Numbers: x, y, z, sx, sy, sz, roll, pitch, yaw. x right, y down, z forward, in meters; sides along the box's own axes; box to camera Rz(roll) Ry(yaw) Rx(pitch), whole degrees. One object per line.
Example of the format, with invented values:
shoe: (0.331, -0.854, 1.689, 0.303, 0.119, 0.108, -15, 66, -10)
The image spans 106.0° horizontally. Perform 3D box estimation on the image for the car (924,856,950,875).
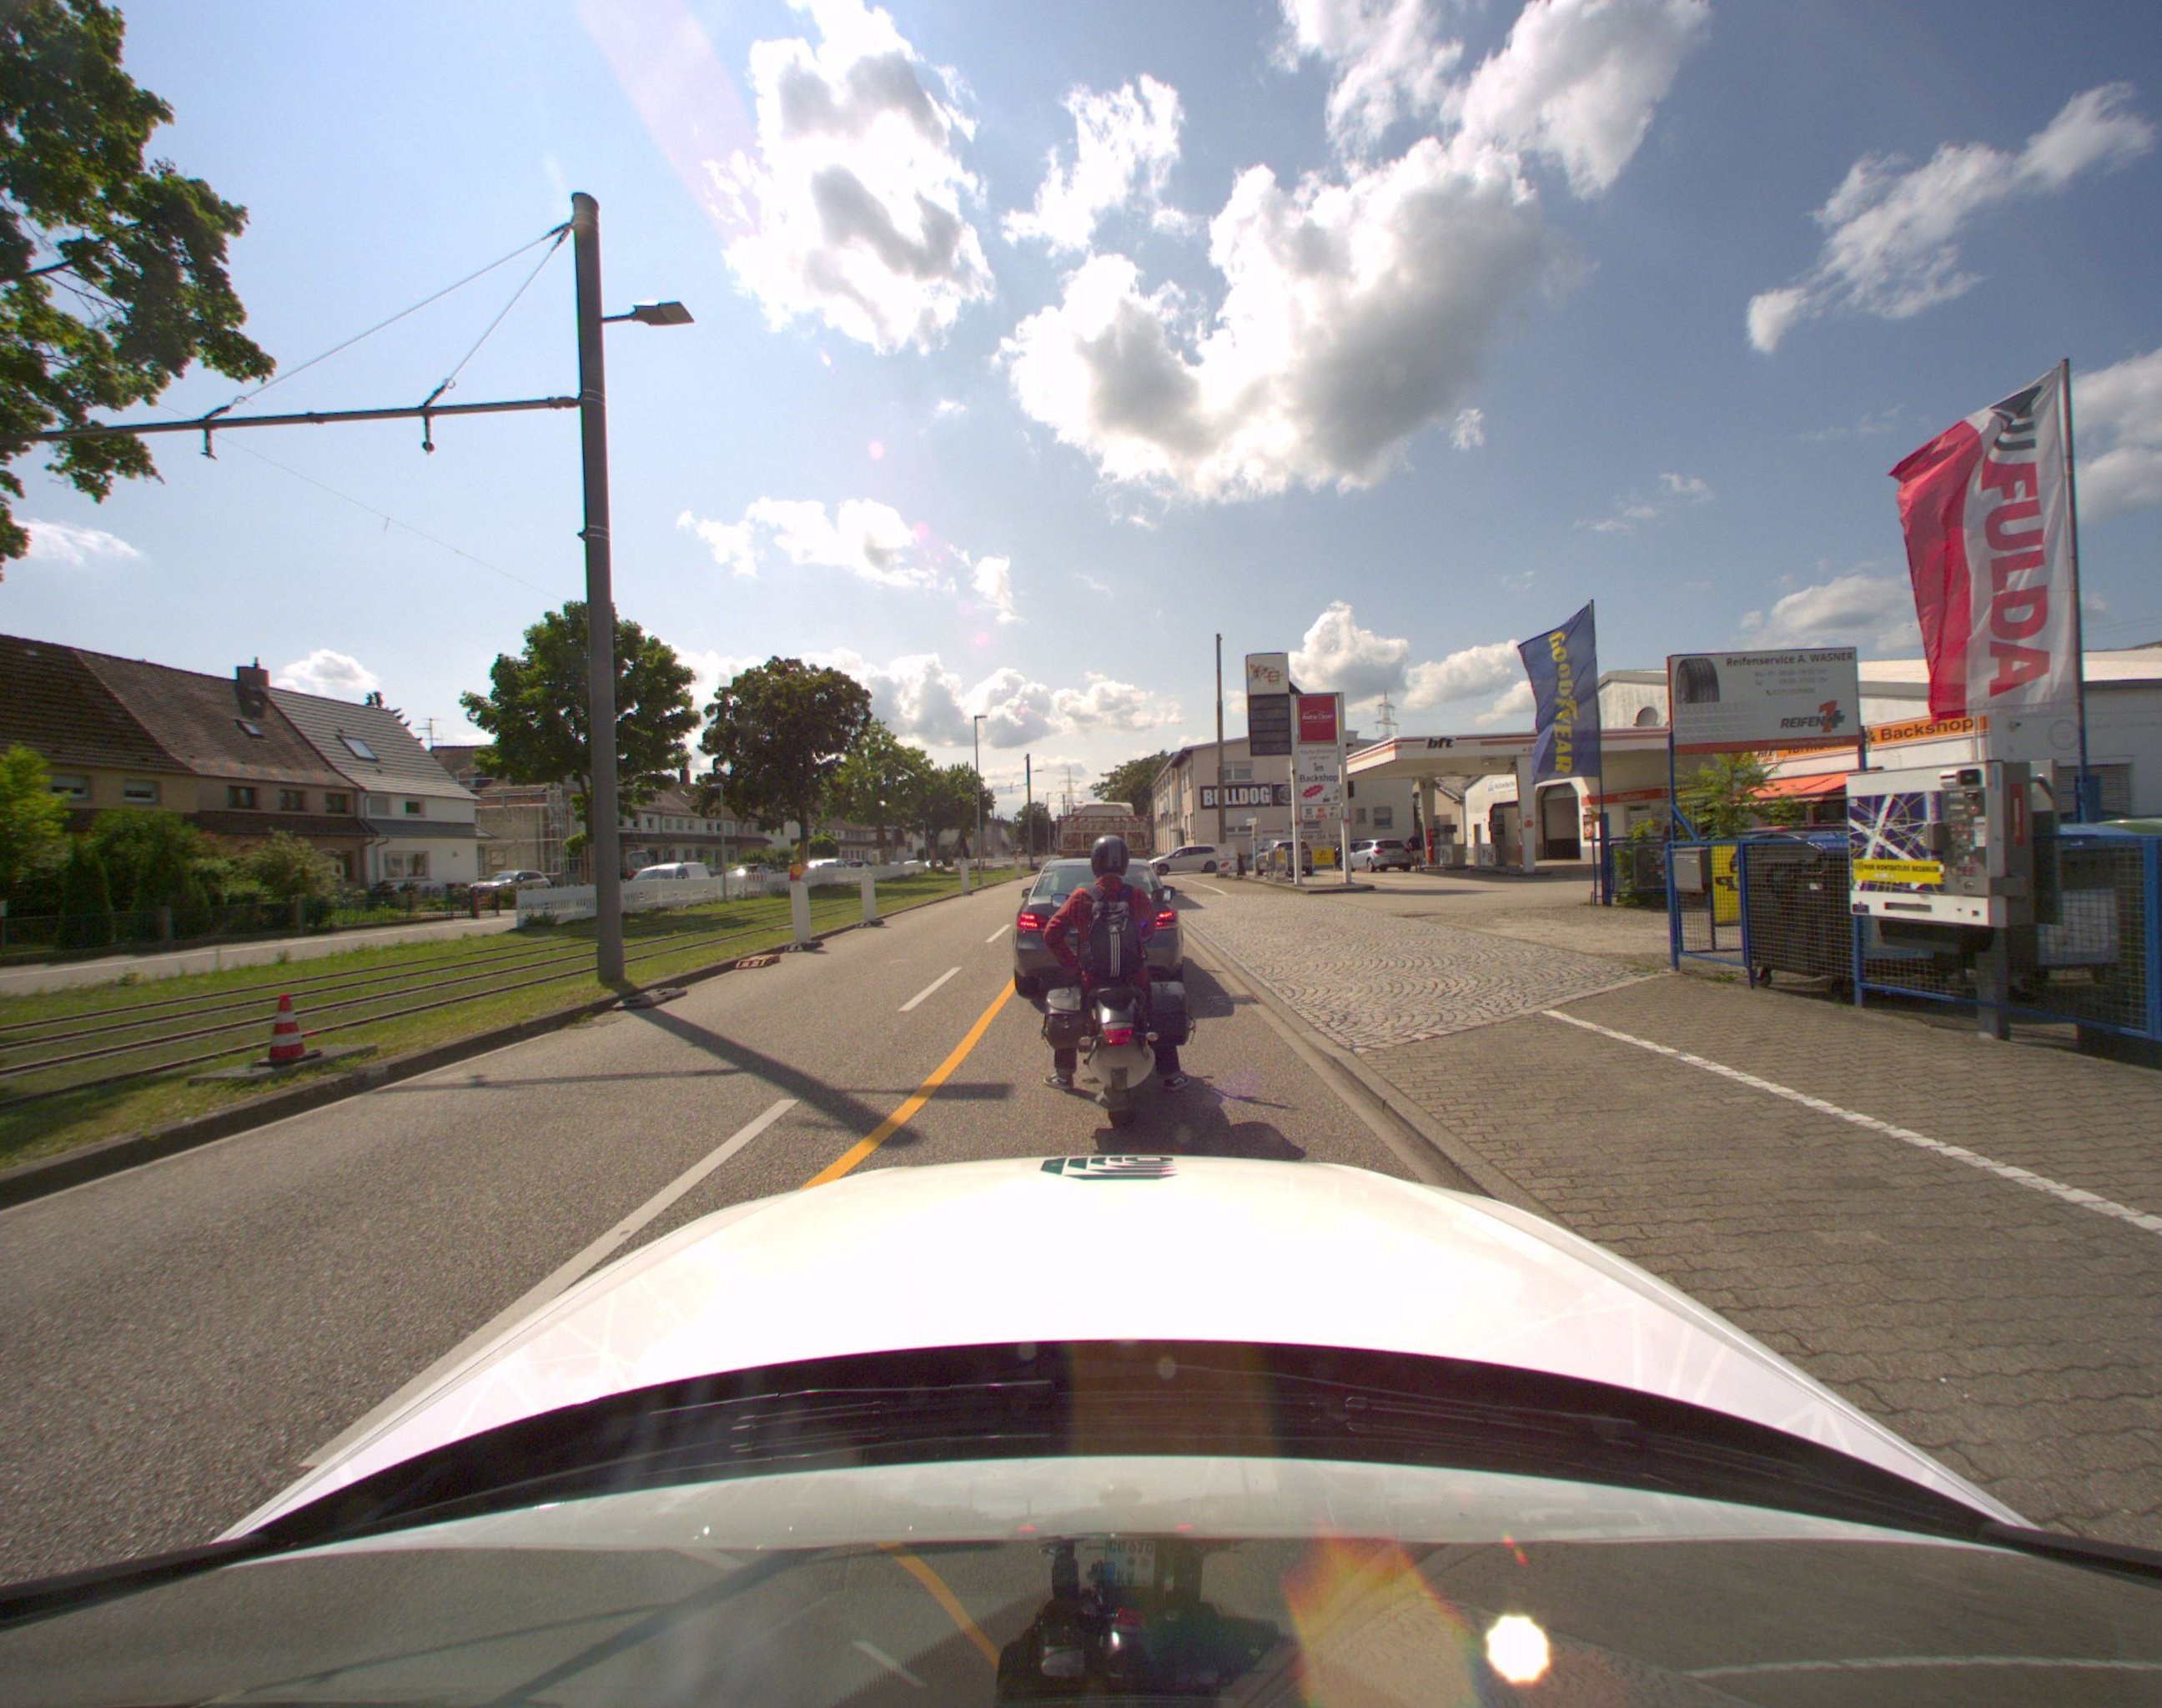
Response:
car: (-14.187, 1.148, 80.389, 1.692, 1.739, 3.862, -2, 0, 2)

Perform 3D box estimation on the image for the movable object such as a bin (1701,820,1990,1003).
movable object such as a bin: (6.827, 0.468, 7.408, 1.222, 1.454, 1.455, -2, 0, 0)

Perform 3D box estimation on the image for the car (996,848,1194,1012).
car: (0.163, 0.718, 9.788, 1.826, 1.479, 4.009, -3, 0, 1)

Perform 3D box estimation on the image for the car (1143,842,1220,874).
car: (5.766, 0.225, 47.053, 4.101, 1.624, 1.682, -3, 0, -7)

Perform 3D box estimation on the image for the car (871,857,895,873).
car: (-24.062, 1.333, 99.090, 1.692, 1.739, 4.064, -2, 0, 2)

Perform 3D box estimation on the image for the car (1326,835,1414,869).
car: (15.211, -0.110, 43.033, 4.083, 1.624, 1.689, -2, 0, 7)

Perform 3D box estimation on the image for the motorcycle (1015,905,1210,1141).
motorcycle: (0.198, 0.930, 5.316, 0.972, 1.013, 2.433, -1, 0, 2)

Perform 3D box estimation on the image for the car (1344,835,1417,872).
car: (13.539, -0.025, 37.073, 1.826, 1.479, 4.009, -3, 0, 1)

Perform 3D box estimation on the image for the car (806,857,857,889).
car: (-15.060, 1.108, 49.393, 1.692, 1.739, 3.862, -2, 0, 2)

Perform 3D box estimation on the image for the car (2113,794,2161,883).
car: (26.354, -0.435, 18.190, 3.972, 2.013, 2.001, -2, 0, 1)

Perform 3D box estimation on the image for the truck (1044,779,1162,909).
truck: (0.643, -0.284, 25.607, 2.960, 3.304, 8.407, -2, 0, 1)

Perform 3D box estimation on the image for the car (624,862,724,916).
car: (-15.417, 1.275, 31.059, 1.692, 1.817, 3.862, -2, 0, 2)

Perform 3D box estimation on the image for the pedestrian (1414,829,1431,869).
pedestrian: (14.842, -0.212, 35.392, 0.628, 1.683, 0.626, -2, 0, 23)

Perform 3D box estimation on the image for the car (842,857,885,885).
car: (-14.868, 1.137, 55.760, 1.692, 1.739, 3.862, -2, 0, 2)

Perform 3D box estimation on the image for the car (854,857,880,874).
car: (-24.467, 1.298, 93.140, 1.692, 1.739, 4.064, -2, 0, 2)

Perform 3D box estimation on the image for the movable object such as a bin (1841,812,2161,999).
movable object such as a bin: (8.106, 0.414, 7.284, 1.222, 1.454, 1.455, -2, 0, 0)

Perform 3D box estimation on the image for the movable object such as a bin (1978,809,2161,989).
movable object such as a bin: (9.452, 0.333, 7.194, 1.425, 1.454, 1.455, -2, 0, 0)

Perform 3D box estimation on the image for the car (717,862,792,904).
car: (-15.325, 1.322, 38.489, 1.692, 1.739, 4.056, -2, 0, 2)

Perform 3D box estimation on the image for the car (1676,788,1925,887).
car: (16.603, -0.373, 18.966, 3.972, 2.013, 2.001, -2, 0, 1)

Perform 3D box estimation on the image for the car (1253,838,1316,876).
car: (9.069, 0.120, 36.580, 1.826, 1.536, 4.009, -3, 0, 1)

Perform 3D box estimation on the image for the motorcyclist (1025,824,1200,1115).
motorcyclist: (0.197, 0.652, 5.199, 0.966, 1.633, 1.215, -1, 0, 1)

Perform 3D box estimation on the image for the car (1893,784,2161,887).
car: (21.251, -0.403, 18.274, 3.972, 2.013, 2.001, -2, 0, 1)

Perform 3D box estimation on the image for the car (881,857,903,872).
car: (-24.381, 1.340, 105.367, 1.692, 1.739, 4.064, -2, 0, 2)

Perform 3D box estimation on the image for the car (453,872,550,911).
car: (-27.479, 1.728, 38.795, 1.692, 1.593, 3.862, -2, 0, 2)
